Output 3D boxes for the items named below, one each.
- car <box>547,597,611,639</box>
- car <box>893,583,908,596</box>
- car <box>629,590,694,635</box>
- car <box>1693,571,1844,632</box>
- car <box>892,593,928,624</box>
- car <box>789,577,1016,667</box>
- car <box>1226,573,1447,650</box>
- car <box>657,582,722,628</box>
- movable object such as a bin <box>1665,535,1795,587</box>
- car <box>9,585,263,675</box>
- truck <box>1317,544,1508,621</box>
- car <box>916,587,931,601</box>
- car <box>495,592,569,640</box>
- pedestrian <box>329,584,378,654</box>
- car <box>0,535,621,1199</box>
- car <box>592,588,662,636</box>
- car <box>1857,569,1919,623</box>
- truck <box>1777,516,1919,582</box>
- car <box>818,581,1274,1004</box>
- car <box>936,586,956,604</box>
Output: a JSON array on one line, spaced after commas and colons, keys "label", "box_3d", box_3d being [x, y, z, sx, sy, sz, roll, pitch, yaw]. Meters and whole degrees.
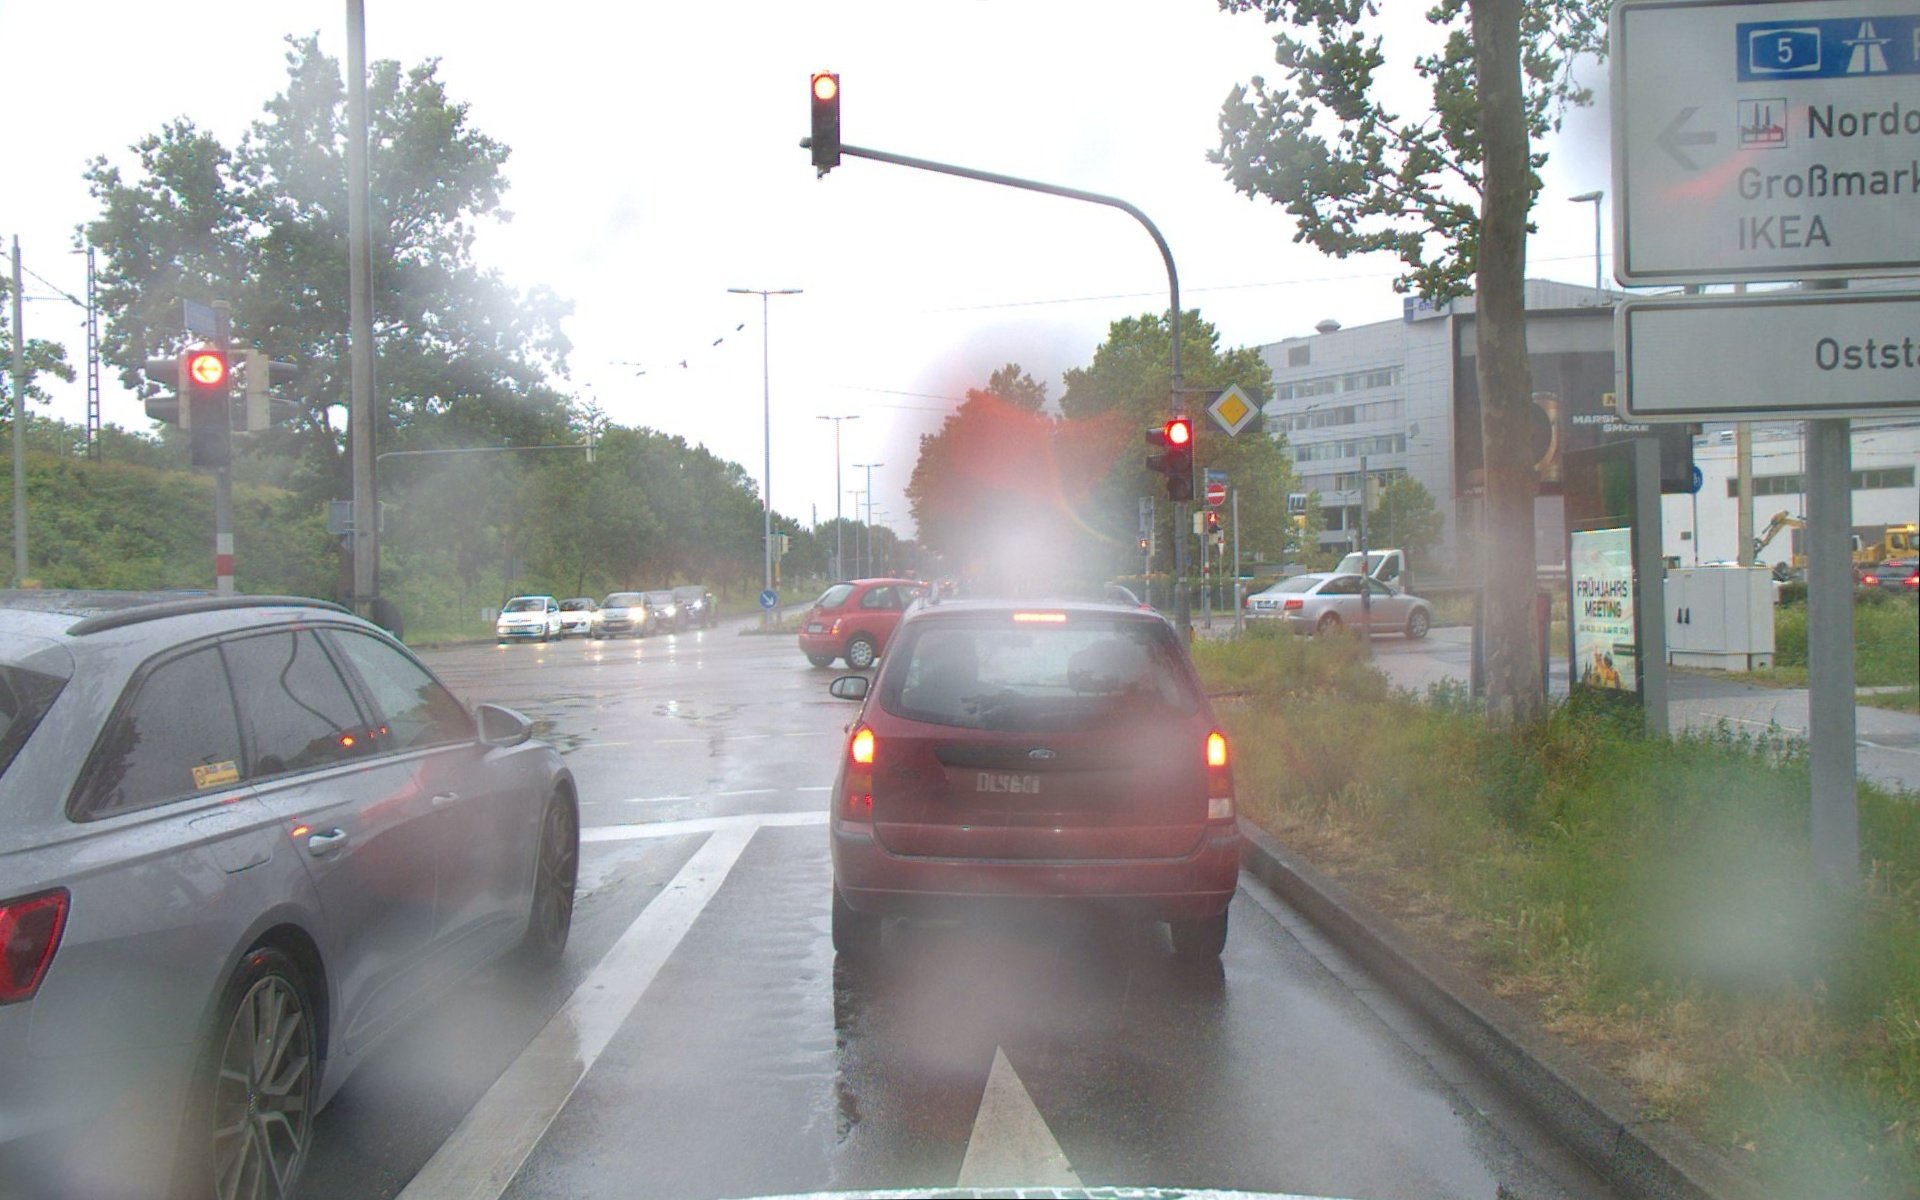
[{"label": "car", "box_3d": [-14.067, 0.632, 61.221, 1.558, 1.428, 3.822, -2, 1, -2]}, {"label": "car", "box_3d": [-7.247, -1.241, 202.245, 1.663, 1.554, 3.846, -1, 0, 1]}, {"label": "car", "box_3d": [-11.356, 0.460, 63.142, 1.727, 1.614, 4.811, -2, 0, -2]}, {"label": "car", "box_3d": [22.657, 0.017, 46.289, 4.575, 1.614, 1.902, -1, 0, -37]}, {"label": "car", "box_3d": [-3.008, 0.498, 99.755, 1.954, 1.822, 3.996, 1, 0, -5]}, {"label": "car", "box_3d": [-1.003, 0.354, 29.480, 3.769, 1.517, 1.659, 0, 0, -33]}, {"label": "car", "box_3d": [8.116, 0.228, 35.486, 4.771, 1.517, 1.905, -1, 0, -34]}, {"label": "car", "box_3d": [-11.596, 0.187, 71.236, 2.024, 1.851, 5.539, -2, 1, -2]}, {"label": "movable object such as a bin", "box_3d": [48.345, -2.422, 103.984, 3.292, 3.048, 6.634, -2, 0, -36]}, {"label": "car", "box_3d": [-16.049, 0.538, 32.322, 4.202, 1.586, 1.723, -1, 0, -38]}, {"label": "truck", "box_3d": [14.896, -0.604, 54.205, 6.796, 2.406, 2.449, -1, 0, -38]}, {"label": "car", "box_3d": [-4.253, -0.700, 192.804, 1.663, 1.554, 3.846, -1, 0, 0]}, {"label": "car", "box_3d": [-14.166, 0.490, 54.893, 1.605, 1.478, 3.785, -2, 1, -3]}, {"label": "pedestrian", "box_3d": [-16.654, 0.506, 45.444, 1.083, 1.879, 1.127, -1, 0, -13]}, {"label": "car", "box_3d": [-2.298, 0.668, 4.825, 1.733, 1.601, 4.819, 1, 0, -2]}, {"label": "car", "box_3d": [-11.231, 0.367, 55.983, 1.605, 1.499, 3.964, -2, 1, -1]}, {"label": "car", "box_3d": [29.629, -0.143, 50.883, 4.577, 1.614, 1.901, -1, 0, -38]}, {"label": "truck", "box_3d": [52.798, -2.948, 97.373, 3.292, 3.568, 7.789, -2, 0, -36]}, {"label": "car", "box_3d": [0.257, 0.673, 7.770, 1.609, 1.490, 3.731, 1, 0, -2]}, {"label": "car", "box_3d": [-1.210, -0.431, 146.876, 1.636, 1.554, 3.846, -1, 0, 1]}]
